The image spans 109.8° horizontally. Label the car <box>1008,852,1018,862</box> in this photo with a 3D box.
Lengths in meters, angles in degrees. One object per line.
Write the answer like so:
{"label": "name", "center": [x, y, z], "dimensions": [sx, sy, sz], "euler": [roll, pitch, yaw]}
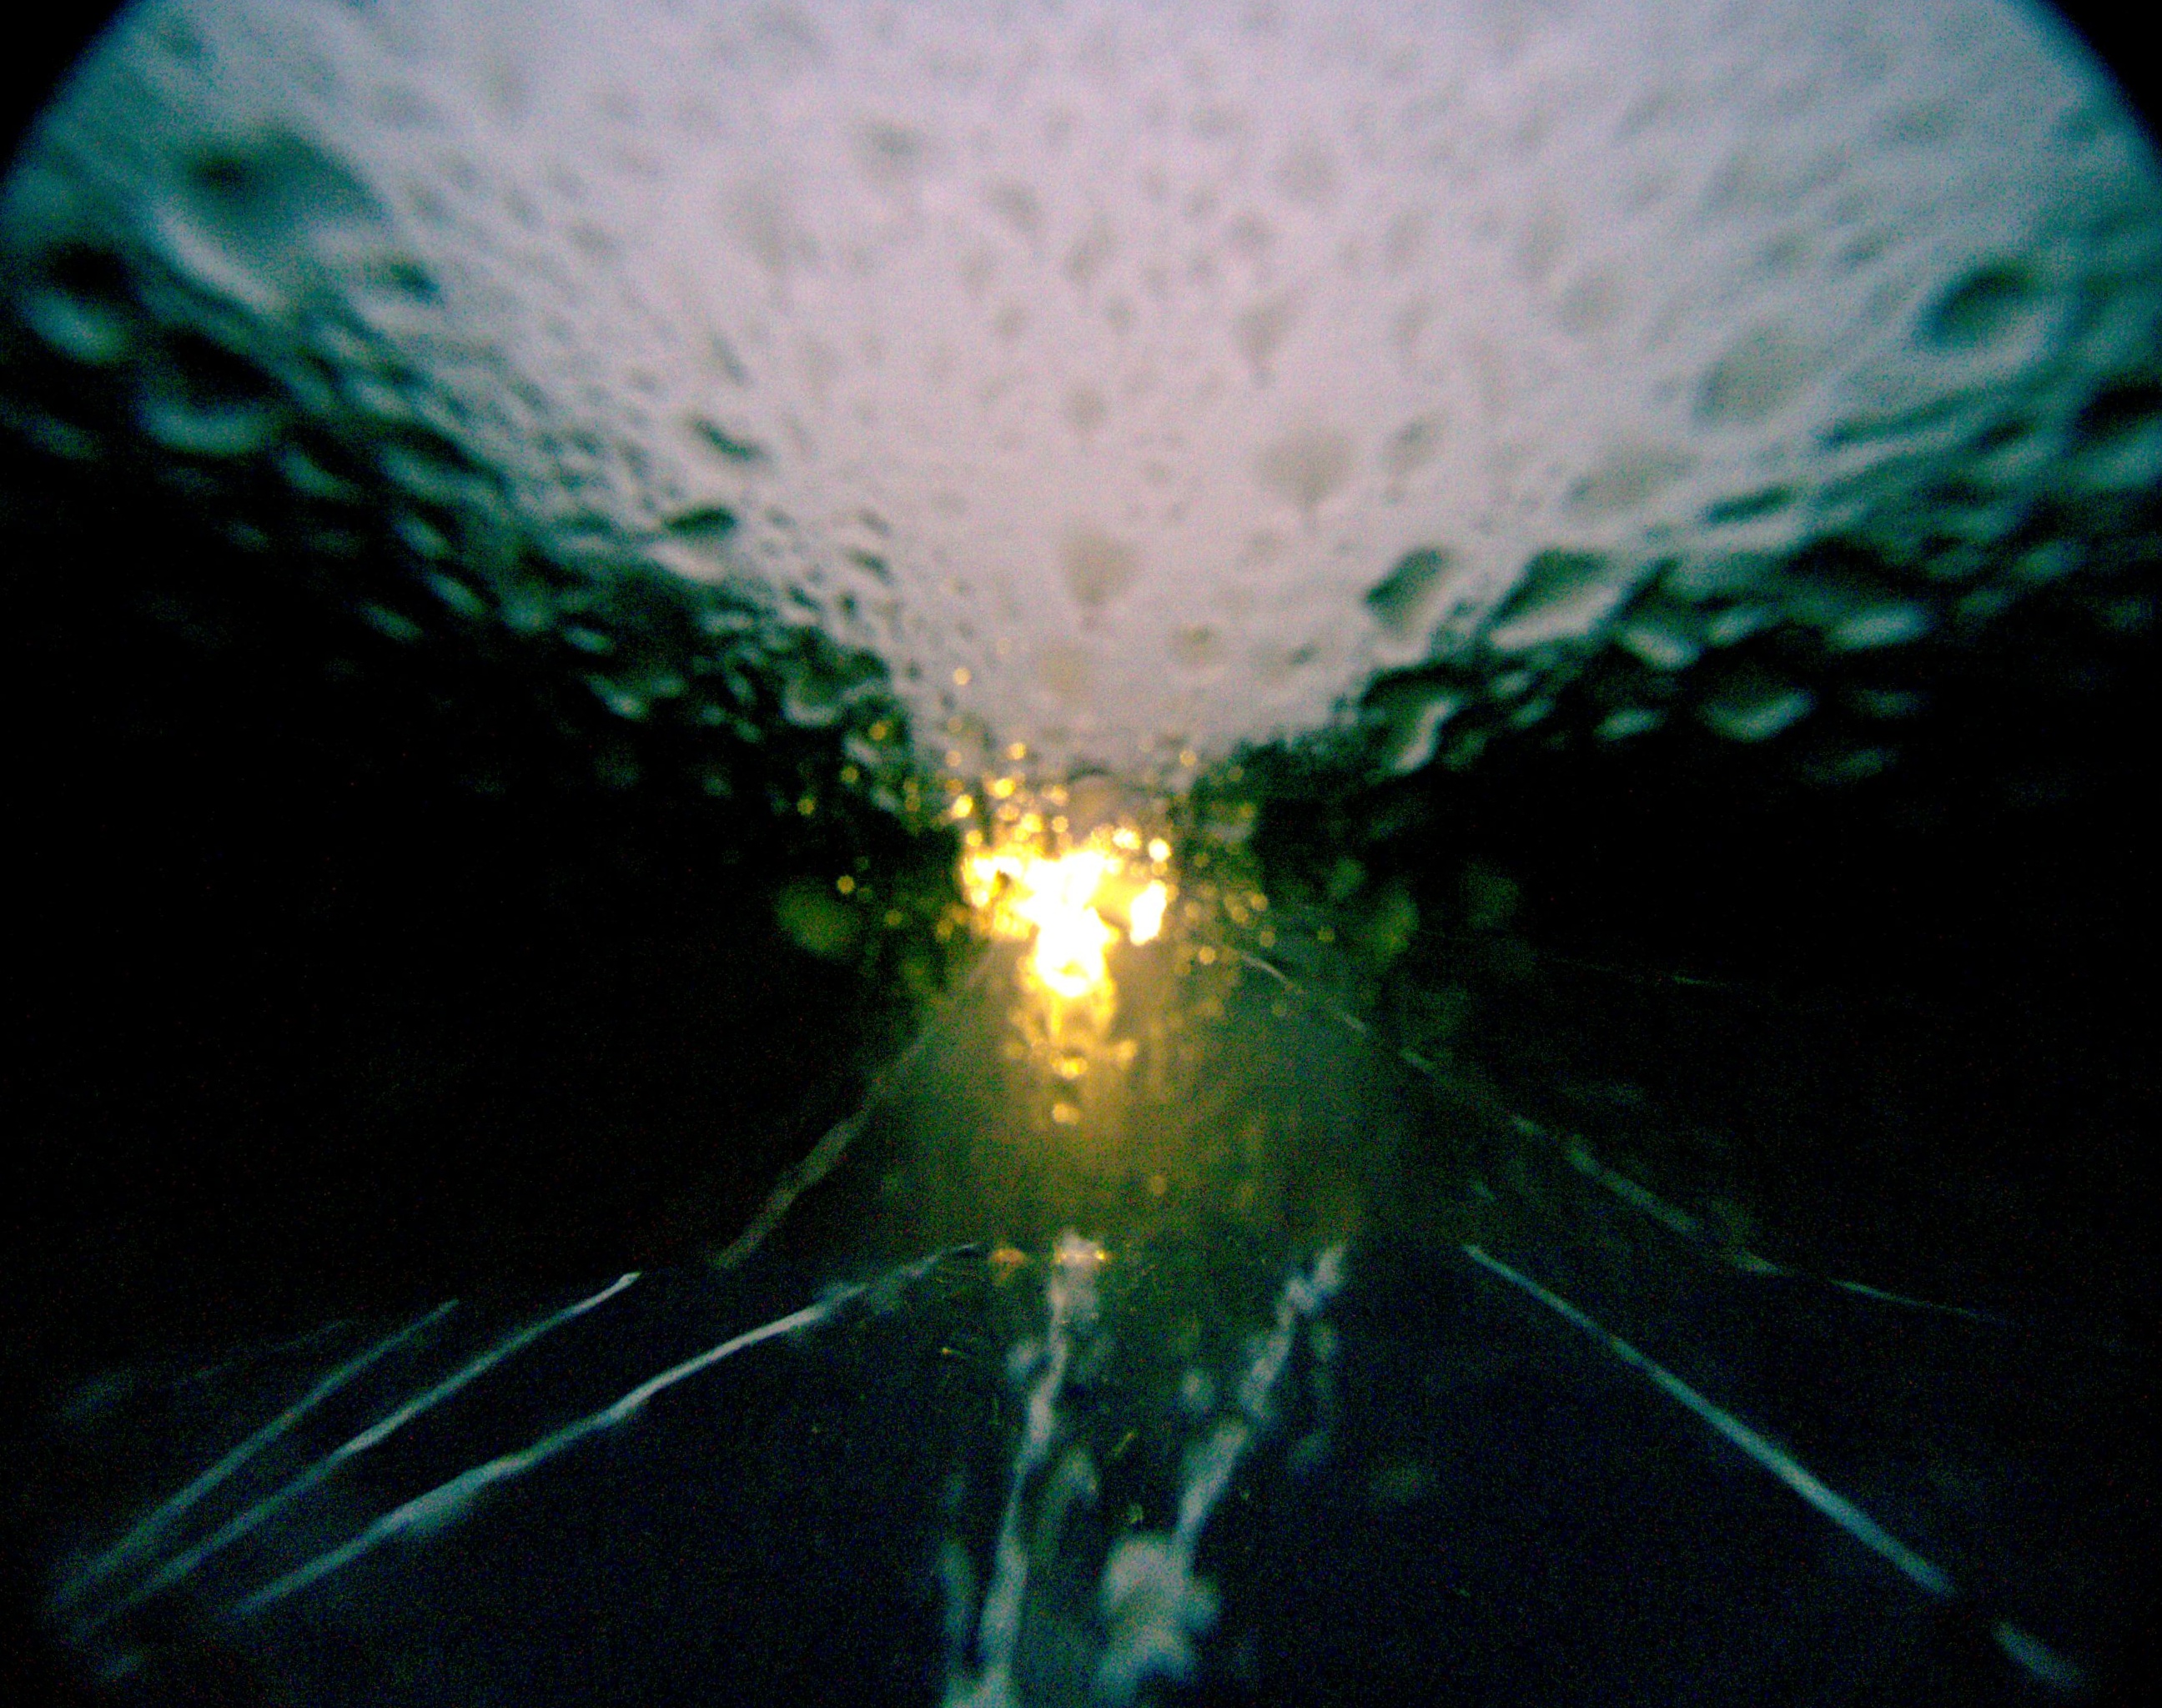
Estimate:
{"label": "car", "center": [-12.335, 0.574, 137.341], "dimensions": [1.718, 1.617, 4.215], "euler": [-2, 1, -5]}

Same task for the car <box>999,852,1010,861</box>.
{"label": "car", "center": [-15.400, 0.528, 152.224], "dimensions": [2.011, 1.547, 4.513], "euler": [-2, 1, -7]}

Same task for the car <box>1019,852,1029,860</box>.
{"label": "car", "center": [-12.020, 0.405, 160.201], "dimensions": [1.908, 1.638, 4.723], "euler": [-2, 0, -8]}

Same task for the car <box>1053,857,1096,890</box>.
{"label": "car", "center": [-0.364, 0.884, 35.460], "dimensions": [1.851, 1.429, 4.243], "euler": [0, 0, -3]}

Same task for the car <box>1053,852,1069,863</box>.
{"label": "car", "center": [-2.848, 0.504, 106.778], "dimensions": [1.810, 1.445, 4.375], "euler": [-2, 1, -6]}

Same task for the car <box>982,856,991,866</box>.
{"label": "car", "center": [-18.774, 1.323, 150.368], "dimensions": [1.702, 1.721, 3.996], "euler": [-2, 2, -8]}

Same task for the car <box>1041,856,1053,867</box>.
{"label": "car", "center": [-5.824, 1.313, 129.809], "dimensions": [1.866, 1.638, 4.464], "euler": [-1, 1, -6]}
